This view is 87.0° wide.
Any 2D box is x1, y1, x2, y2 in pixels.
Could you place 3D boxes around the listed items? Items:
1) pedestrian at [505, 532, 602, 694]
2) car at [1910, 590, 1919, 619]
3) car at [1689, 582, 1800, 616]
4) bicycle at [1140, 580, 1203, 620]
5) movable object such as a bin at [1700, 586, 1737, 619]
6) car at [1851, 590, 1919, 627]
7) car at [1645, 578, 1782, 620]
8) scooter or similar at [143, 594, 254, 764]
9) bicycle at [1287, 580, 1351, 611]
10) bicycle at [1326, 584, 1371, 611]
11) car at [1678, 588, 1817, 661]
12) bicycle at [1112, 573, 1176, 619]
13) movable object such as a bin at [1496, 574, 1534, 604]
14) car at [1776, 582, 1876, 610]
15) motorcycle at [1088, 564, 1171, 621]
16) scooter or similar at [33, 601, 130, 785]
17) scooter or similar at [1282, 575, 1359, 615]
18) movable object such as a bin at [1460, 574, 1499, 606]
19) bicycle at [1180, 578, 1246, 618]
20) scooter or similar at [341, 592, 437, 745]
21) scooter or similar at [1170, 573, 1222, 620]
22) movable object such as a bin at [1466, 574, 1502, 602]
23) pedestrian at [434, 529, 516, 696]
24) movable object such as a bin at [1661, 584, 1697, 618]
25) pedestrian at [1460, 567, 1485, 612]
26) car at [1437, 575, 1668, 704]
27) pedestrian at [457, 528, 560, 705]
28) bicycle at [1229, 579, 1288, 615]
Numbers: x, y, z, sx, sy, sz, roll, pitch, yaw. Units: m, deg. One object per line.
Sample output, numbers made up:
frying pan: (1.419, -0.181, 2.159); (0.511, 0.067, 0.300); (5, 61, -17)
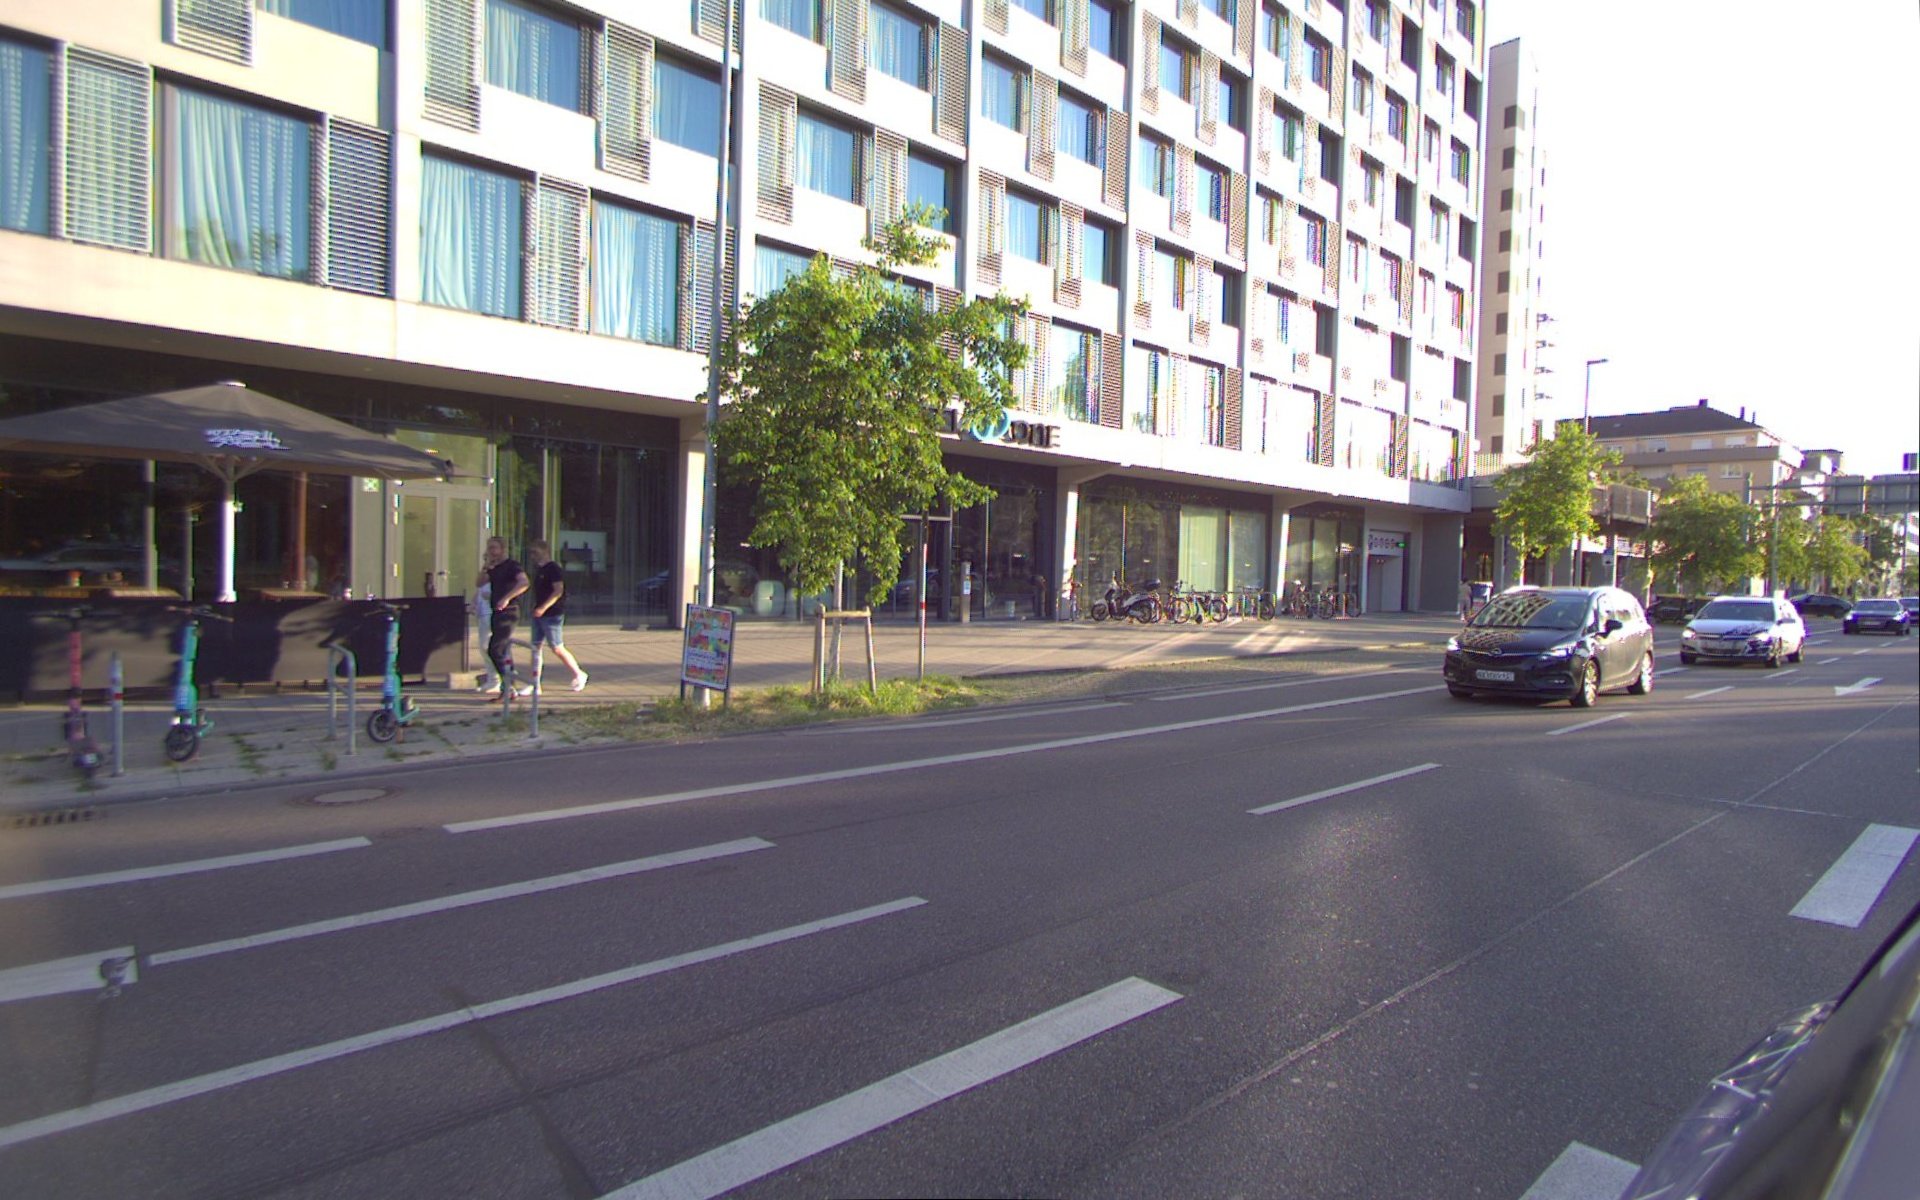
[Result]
pedestrian: (-4.891, 0.128, 12.163); (0.922, 1.846, 0.759); (0, 3, -33)
car: (49.862, 0.225, 51.733); (1.858, 1.413, 4.209); (0, 0, 44)
car: (39.582, -0.068, 51.140); (3.927, 1.433, 1.747); (3, 3, 10)
bicycle: (6.001, -0.018, 28.802); (0.542, 0.998, 1.701); (0, 4, -45)
movable object such as a bin: (32.052, 0.101, 42.779); (1.084, 1.317, 1.341); (5, 4, 41)
car: (37.176, 0.311, 40.349); (4.201, 1.413, 1.914); (0, 0, -41)
car: (34.713, -0.073, 46.741); (4.593, 1.526, 1.936); (3, 4, 9)
scooter or similar: (-6.322, 0.610, 8.448); (0.521, 1.228, 1.134); (-1, 4, -26)
bicycle: (12.669, -0.159, 35.734); (2.015, 0.969, 0.611); (5, 3, 42)
bicycle: (13.992, -0.097, 36.479); (0.449, 0.902, 1.424); (0, 2, -42)
car: (17.560, 0.484, 22.496); (4.231, 1.482, 1.830); (0, 0, -43)
bicycle: (5.158, -0.126, 28.440); (1.603, 1.168, 0.604); (5, 3, 36)
movable object such as a bin: (26.391, -0.531, 48.111); (1.246, 1.338, 1.183); (0, 5, -44)
car: (55.789, -0.256, 65.279); (4.529, 1.471, 1.811); (3, 3, 7)
motorcycle: (4.636, -0.217, 27.722); (2.105, 1.403, 0.664); (4, 2, 35)
scooter or similar: (-6.685, 0.659, 7.734); (0.501, 1.205, 1.159); (-2, 5, -40)
scooter or similar: (12.101, -0.184, 34.022); (0.610, 1.197, 2.376); (0, 3, -42)
movable object such as a bin: (23.185, -0.444, 45.140); (1.261, 1.345, 1.107); (0, 4, -43)
bicycle: (7.530, -0.072, 30.193); (0.556, 1.022, 1.888); (0, 5, -43)
scooter or similar: (-5.288, 0.592, 9.427); (0.524, 1.233, 1.300); (1, 4, -18)
scooter or similar: (6.738, -0.122, 28.914); (1.268, 1.248, 0.599); (5, 4, 44)
movable object such as a bin: (25.402, -0.578, 49.064); (1.283, 1.315, 1.183); (0, 2, -44)
pedestrian: (-5.611, 0.124, 11.694); (0.762, 1.833, 0.622); (0, 5, -33)
movable object such as a bin: (31.055, 0.028, 43.702); (1.014, 1.363, 1.143); (6, 4, 43)
pedestrian: (19.231, -0.395, 37.966); (0.577, 1.638, 0.632); (5, 4, 45)
car: (8.788, 0.476, 14.856); (4.294, 1.619, 1.824); (0, 1, -43)
pedestrian: (-5.057, 0.156, 11.321); (0.922, 1.871, 0.747); (0, 4, -33)
bicycle: (9.434, -0.097, 32.027); (0.542, 0.998, 1.701); (0, 4, -45)
